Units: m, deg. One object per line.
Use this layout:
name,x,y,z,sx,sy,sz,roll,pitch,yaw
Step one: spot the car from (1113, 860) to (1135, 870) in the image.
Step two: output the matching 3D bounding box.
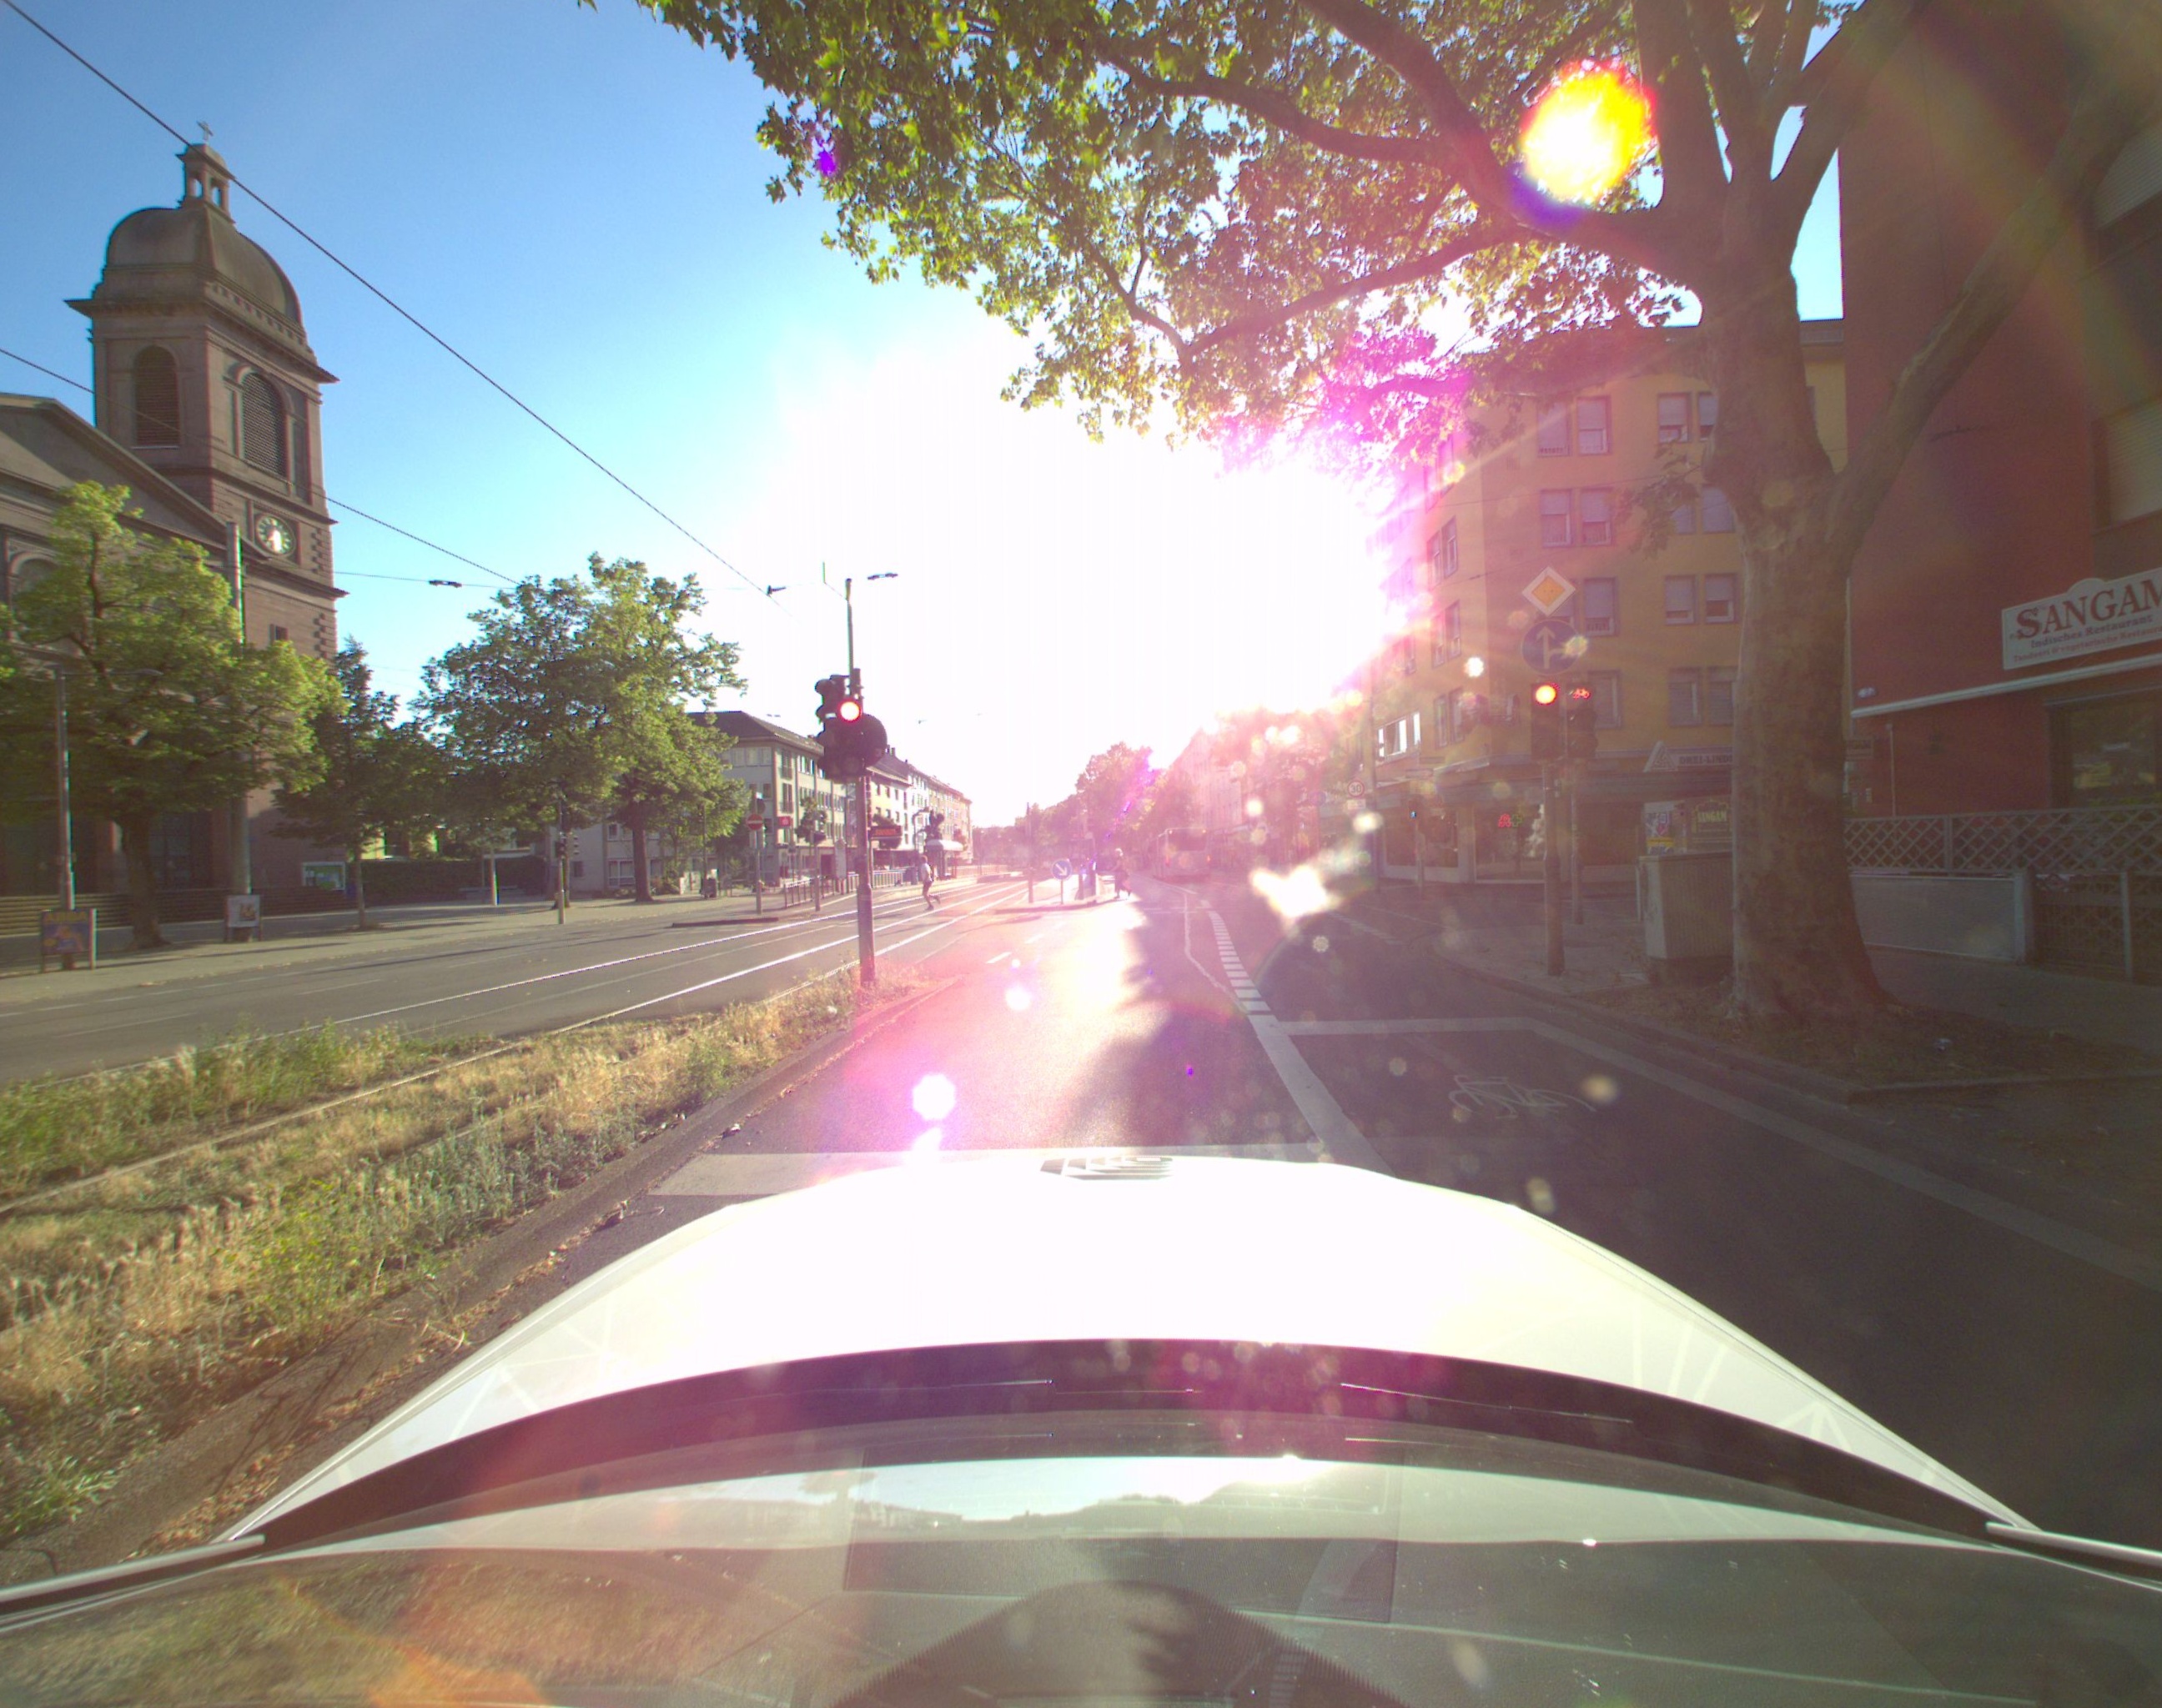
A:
car,8.338,2.157,158.533,3.911,1.699,1.817,-2,0,-27

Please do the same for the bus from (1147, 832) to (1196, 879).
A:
bus,6.404,0.126,58.972,2.801,3.101,9.097,0,0,2

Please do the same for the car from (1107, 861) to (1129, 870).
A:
car,7.284,2.234,161.363,3.911,1.699,1.817,-2,0,-27

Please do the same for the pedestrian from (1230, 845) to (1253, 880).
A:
pedestrian,9.578,0.498,48.563,0.959,2.014,0.909,0,-1,-27

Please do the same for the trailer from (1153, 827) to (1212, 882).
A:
trailer,6.105,0.062,50.050,2.801,3.110,8.797,0,0,2

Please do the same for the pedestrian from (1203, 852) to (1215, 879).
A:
pedestrian,7.919,0.696,50.329,0.674,1.628,0.656,0,-1,2

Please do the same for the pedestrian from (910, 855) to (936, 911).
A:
pedestrian,-5.122,0.927,26.466,0.678,1.770,0.686,-2,0,-2

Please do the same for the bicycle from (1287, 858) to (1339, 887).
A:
bicycle,8.896,0.707,31.250,1.766,1.021,0.694,-4,-1,1

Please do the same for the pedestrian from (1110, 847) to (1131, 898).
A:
pedestrian,1.399,0.653,28.931,0.677,1.770,0.687,-1,-1,2
